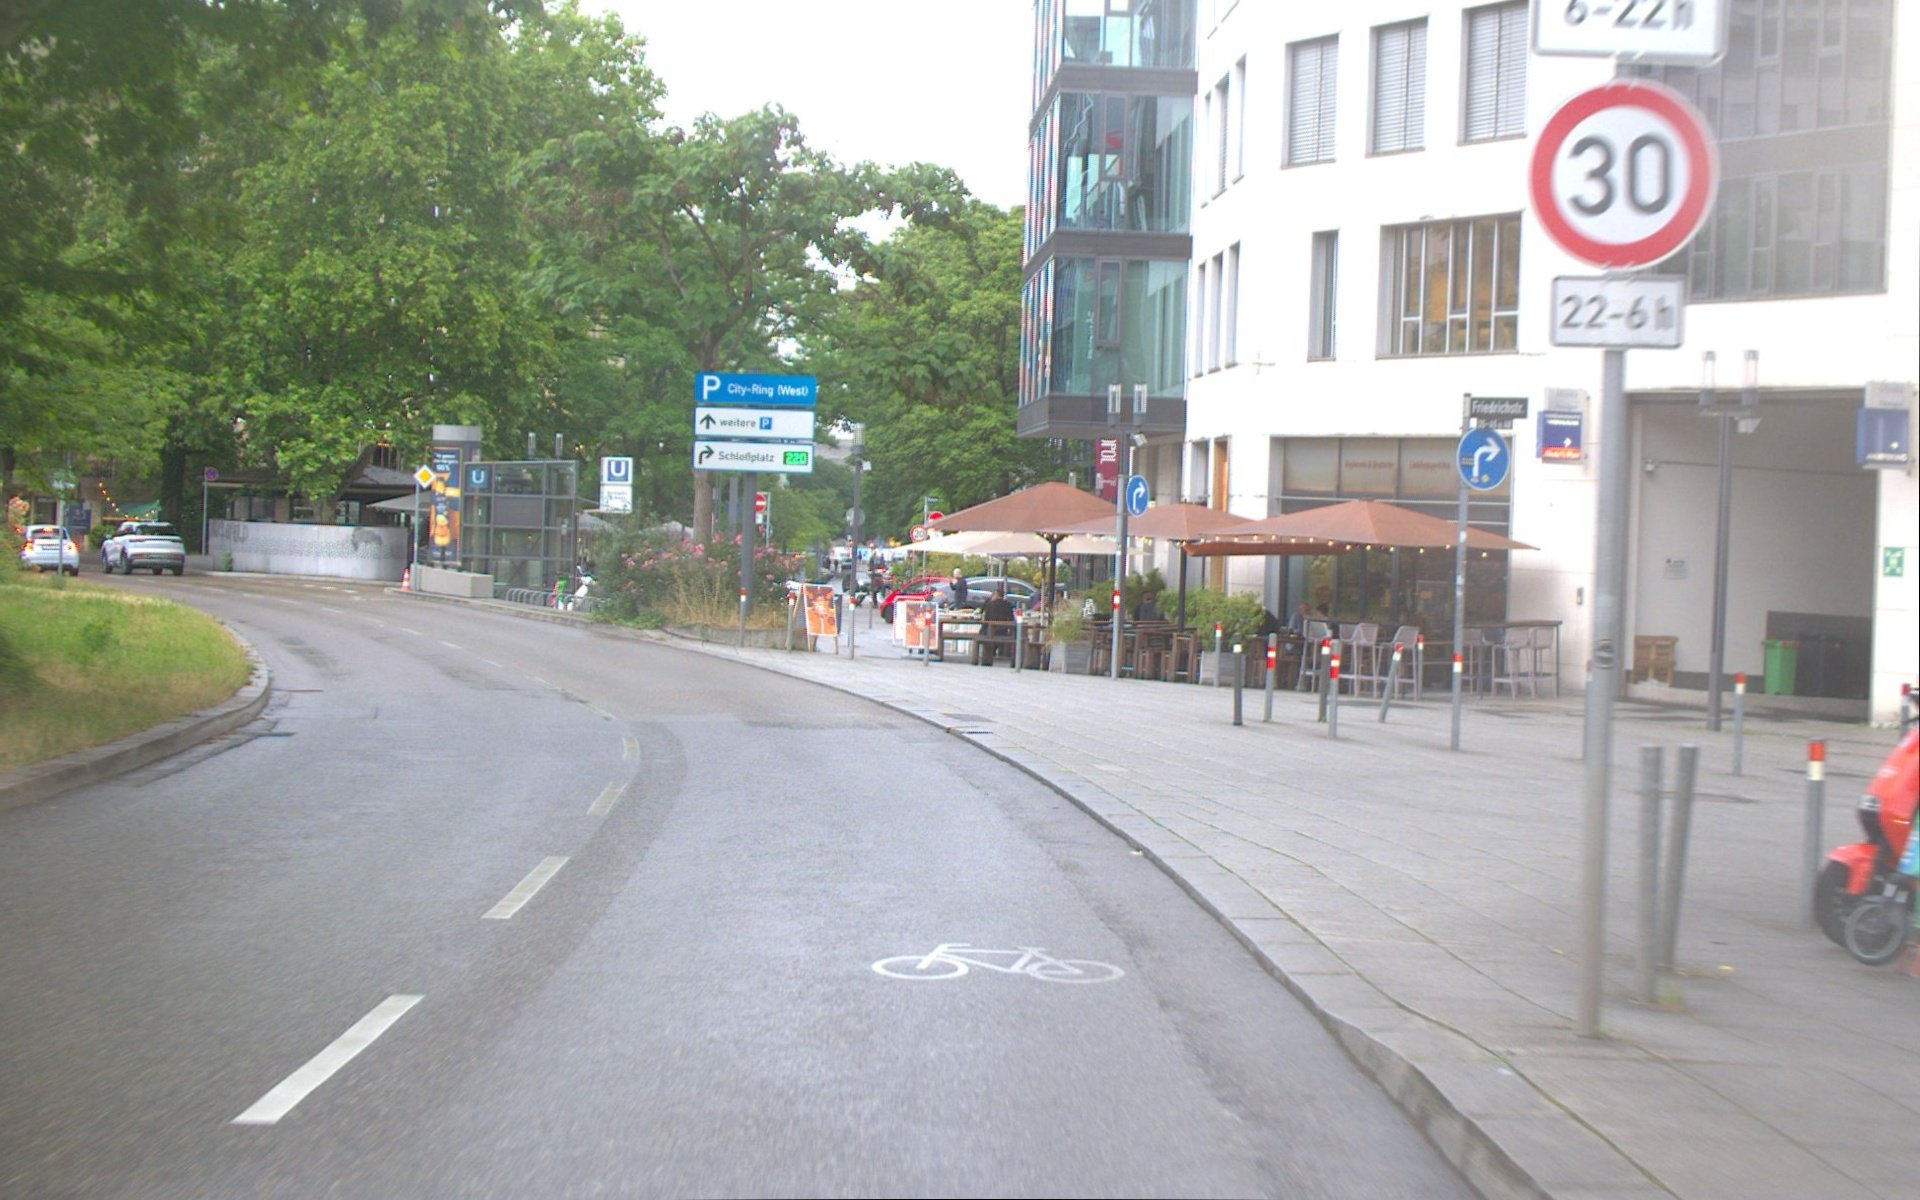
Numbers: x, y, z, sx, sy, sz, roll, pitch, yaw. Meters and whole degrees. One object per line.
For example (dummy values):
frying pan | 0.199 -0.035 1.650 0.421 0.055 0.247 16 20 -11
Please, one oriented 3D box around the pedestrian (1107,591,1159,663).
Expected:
pedestrian | 3.309 0.516 65.887 0.817 1.322 0.636 4 0 -5

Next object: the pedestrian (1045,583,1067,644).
pedestrian | 2.237 0.312 80.016 0.434 1.399 0.478 1 0 -3

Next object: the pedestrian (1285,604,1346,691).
pedestrian | 5.698 0.761 55.096 0.626 1.322 0.636 4 0 -25

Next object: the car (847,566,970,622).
car | -1.553 -0.183 102.718 1.610 1.411 3.527 4 0 -45

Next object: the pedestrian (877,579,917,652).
pedestrian | -1.168 0.288 64.035 0.606 1.322 0.567 4 0 -5

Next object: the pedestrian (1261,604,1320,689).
pedestrian | 5.375 0.749 55.901 0.626 1.322 0.636 4 0 -25

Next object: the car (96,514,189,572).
car | -25.339 -1.764 106.474 1.946 1.660 4.346 2 0 -24

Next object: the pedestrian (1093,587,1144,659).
pedestrian | 3.079 0.449 66.726 0.817 1.322 0.636 4 0 -5

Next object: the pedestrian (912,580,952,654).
pedestrian | -0.520 0.319 64.124 0.606 1.322 0.567 4 0 -5

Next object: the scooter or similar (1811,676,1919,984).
scooter or similar | 4.579 0.994 14.443 1.791 1.239 0.596 3 -1 -6

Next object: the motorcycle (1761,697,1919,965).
motorcycle | 4.603 1.062 15.470 1.791 1.136 0.596 3 -1 -6

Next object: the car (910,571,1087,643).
car | 1.030 0.179 94.744 4.734 1.685 2.005 3 1 -1

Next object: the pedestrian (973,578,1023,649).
pedestrian | 0.736 0.262 66.682 0.817 1.322 0.636 4 0 -5

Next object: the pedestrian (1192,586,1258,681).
pedestrian | 3.908 0.490 50.723 0.773 1.322 0.636 4 0 -6

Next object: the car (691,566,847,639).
car | -5.280 0.064 94.866 4.096 1.615 1.863 5 -1 -6

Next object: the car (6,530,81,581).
car | -27.394 -1.353 102.701 1.590 1.486 3.506 0 2 -24

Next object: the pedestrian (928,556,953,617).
pedestrian | -0.621 -0.424 109.771 0.624 1.926 0.787 3 0 6

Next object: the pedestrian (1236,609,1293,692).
pedestrian | 5.067 0.836 57.222 0.626 1.322 0.636 4 0 -25

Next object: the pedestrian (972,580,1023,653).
pedestrian | 0.715 0.312 65.817 0.817 1.322 0.636 4 0 -5
